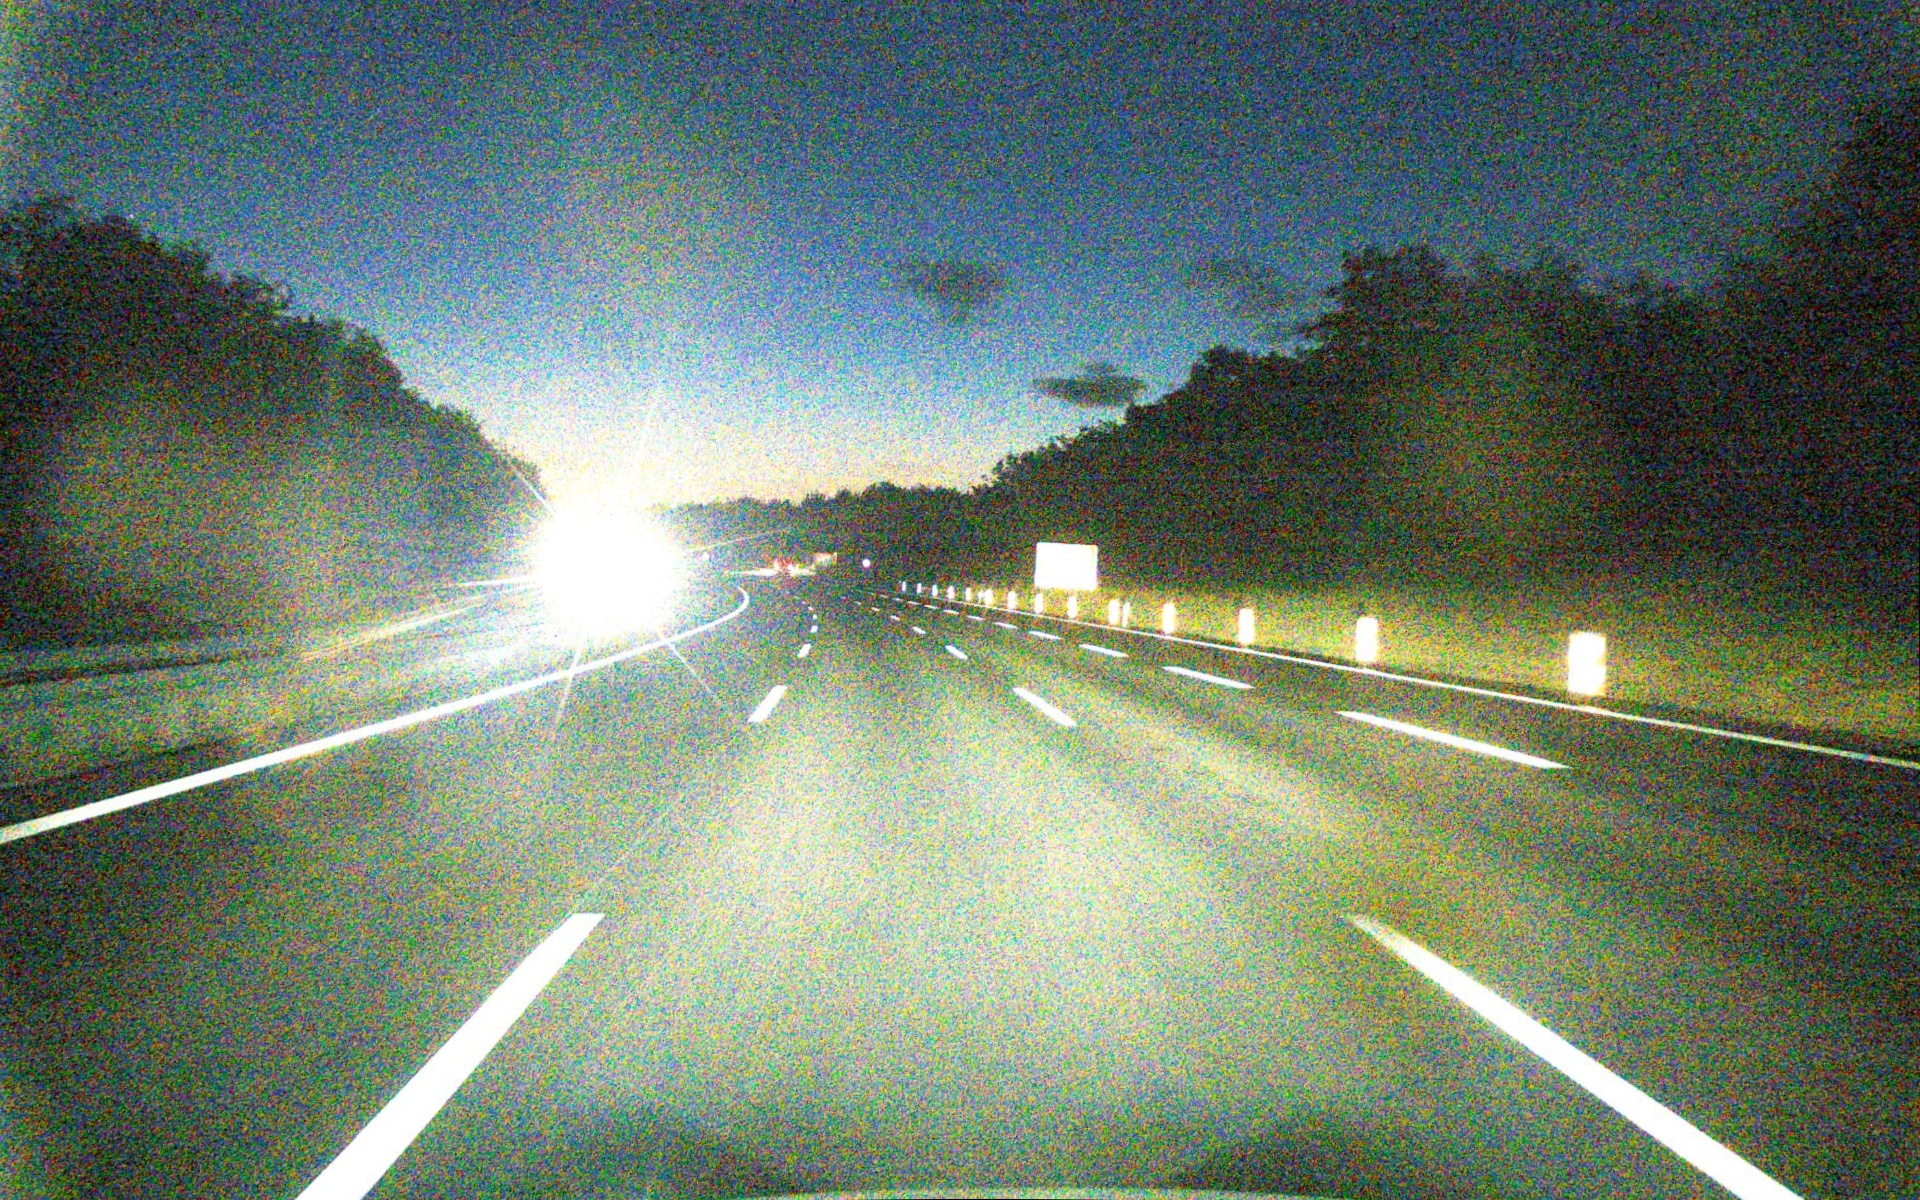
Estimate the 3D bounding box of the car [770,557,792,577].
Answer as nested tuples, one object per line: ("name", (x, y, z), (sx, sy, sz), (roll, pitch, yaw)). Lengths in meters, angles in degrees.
("car", (-25.061, -4.605, 231.746), (2.482, 2.597, 6.037), (3, 1, -11))
